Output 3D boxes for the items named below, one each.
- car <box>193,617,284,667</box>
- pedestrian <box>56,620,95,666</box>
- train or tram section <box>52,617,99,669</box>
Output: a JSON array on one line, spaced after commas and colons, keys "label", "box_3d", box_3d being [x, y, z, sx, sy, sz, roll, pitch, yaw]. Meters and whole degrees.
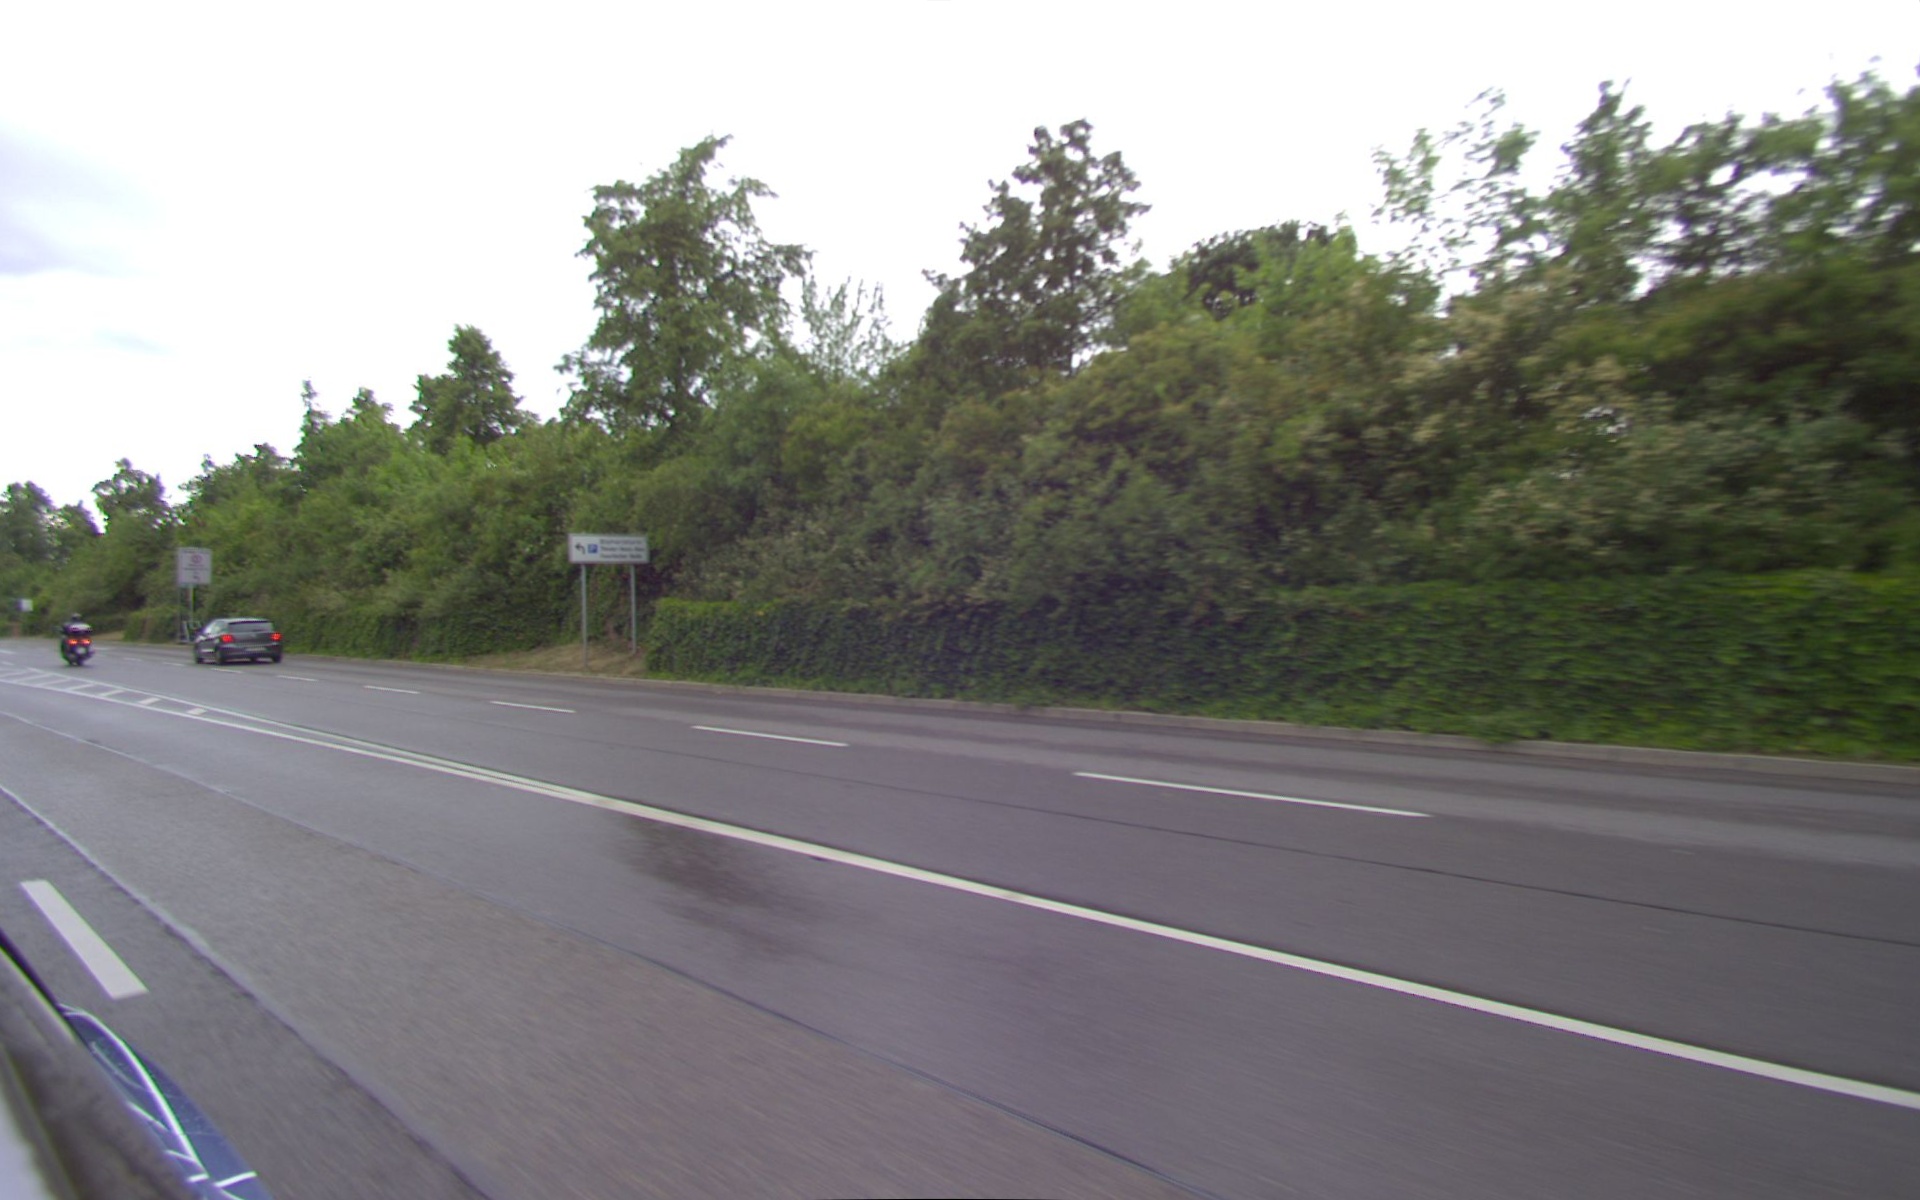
[{"label": "car", "box_3d": [-22.484, 1.259, 31.490, 3.694, 1.448, 1.532, -1, -1, 41]}, {"label": "pedestrian", "box_3d": [-27.912, 1.331, 31.937, 0.974, 1.394, 0.783, -1, 0, 41]}, {"label": "train or tram section", "box_3d": [-27.918, 1.331, 31.936, 2.382, 1.582, 0.783, -1, 0, 41]}]
